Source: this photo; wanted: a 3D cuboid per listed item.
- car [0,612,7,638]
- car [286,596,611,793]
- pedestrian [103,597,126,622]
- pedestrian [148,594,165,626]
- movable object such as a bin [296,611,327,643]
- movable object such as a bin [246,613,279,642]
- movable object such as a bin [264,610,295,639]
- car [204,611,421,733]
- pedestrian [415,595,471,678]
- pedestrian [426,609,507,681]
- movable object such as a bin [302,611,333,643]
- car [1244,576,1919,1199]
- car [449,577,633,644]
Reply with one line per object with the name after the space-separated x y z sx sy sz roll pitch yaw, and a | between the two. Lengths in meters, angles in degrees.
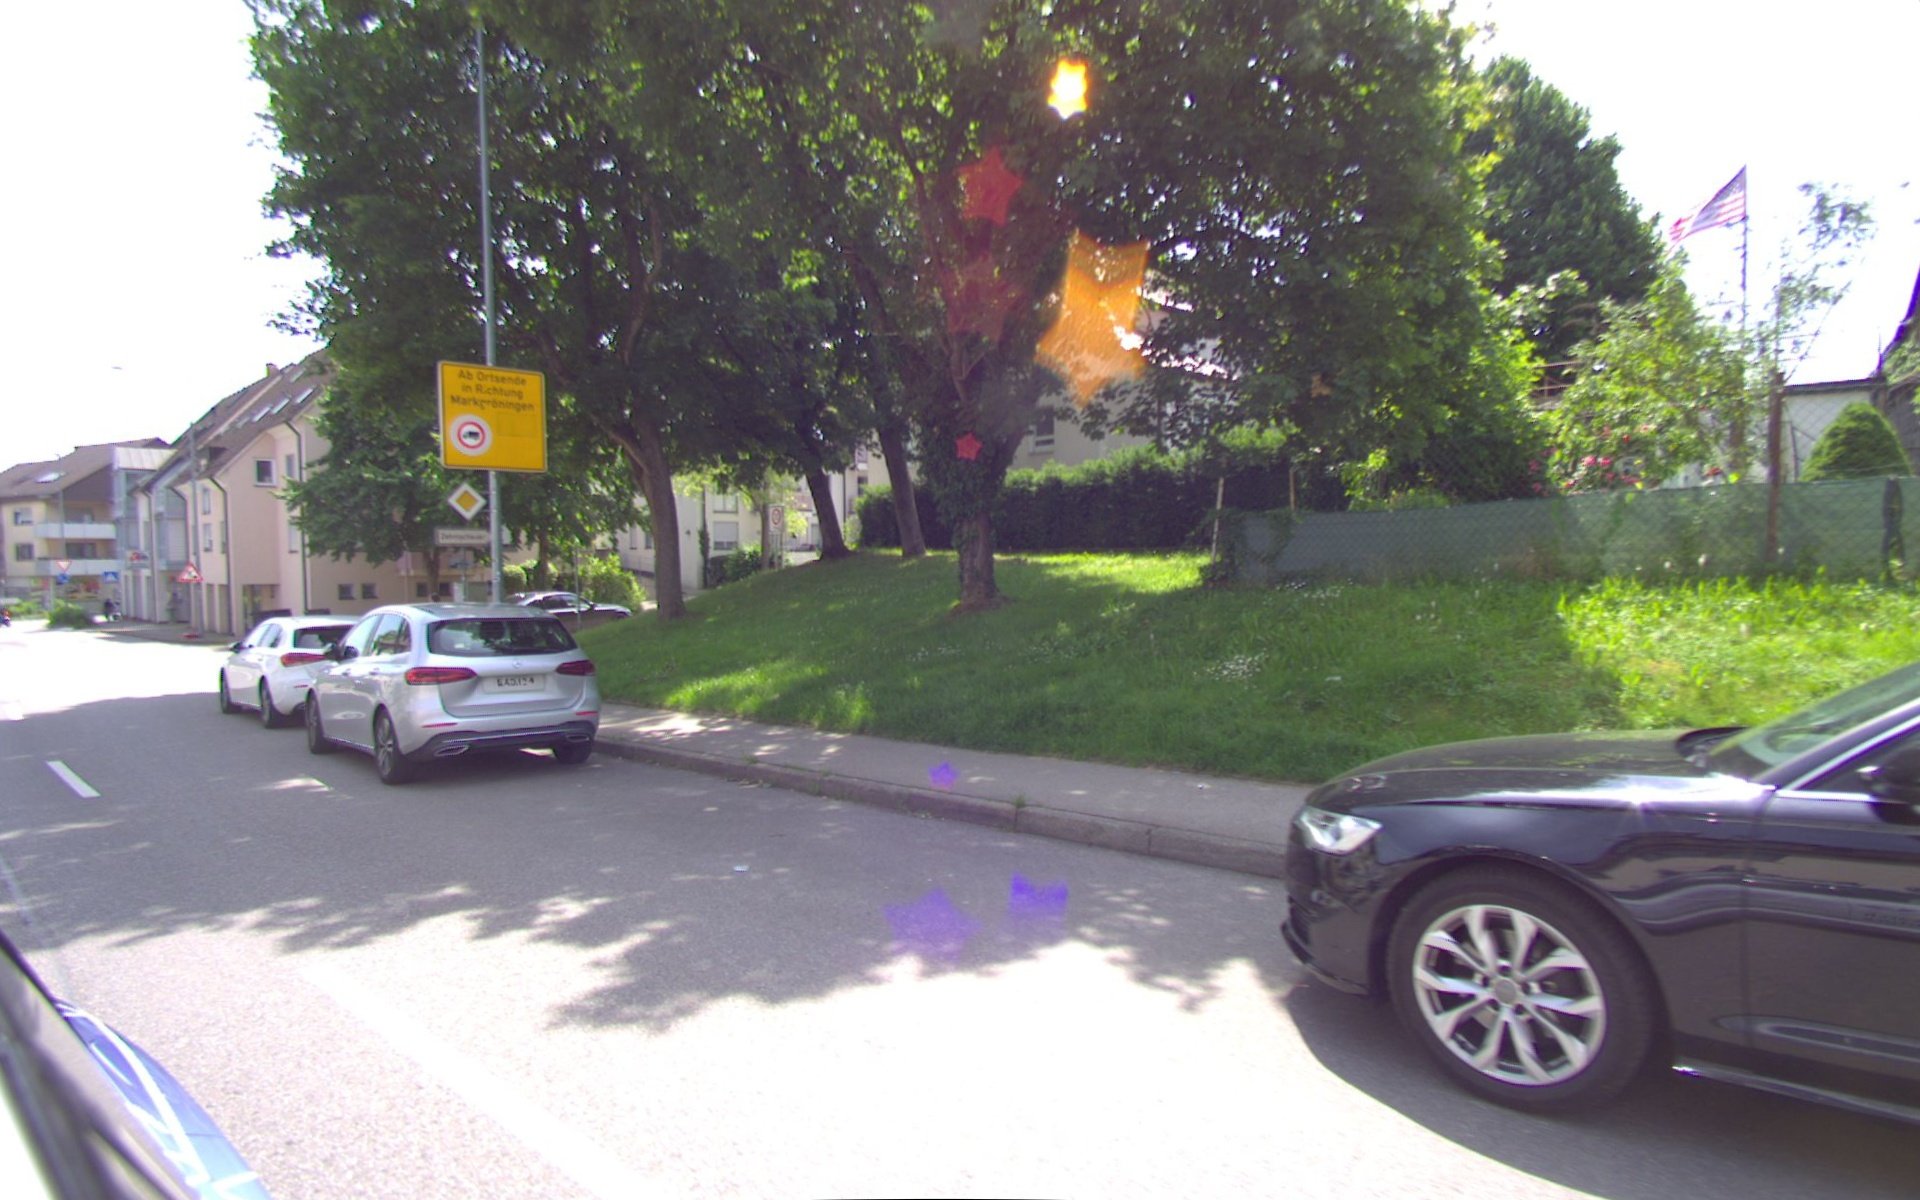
-63.255 1.660 65.504 3.941 1.596 1.735 -1 2 39 | car
-5.233 0.772 10.066 1.751 1.539 4.225 0 -1 -44 | car
-51.834 0.572 62.042 0.955 1.489 0.793 -1 2 36 | pedestrian
-44.954 0.563 56.615 0.568 1.721 0.580 -5 3 -43 | pedestrian
-22.983 0.957 35.872 0.762 1.007 0.610 -7 6 -42 | movable object such as a bin
-25.072 0.978 36.372 0.841 1.008 0.695 -3 2 -42 | movable object such as a bin
-24.854 0.892 36.967 0.791 1.007 0.806 -5 3 -42 | movable object such as a bin
-9.358 0.913 14.467 1.735 1.478 4.365 0 -1 -45 | car
-10.596 0.738 20.741 0.626 1.628 0.726 -1 2 26 | pedestrian
-9.519 0.846 19.528 1.221 1.278 0.647 -4 3 -41 | pedestrian
-22.448 0.952 35.353 0.762 1.007 0.610 -7 6 -41 | movable object such as a bin
3.357 0.630 2.311 4.927 1.434 1.785 -2 -1 43 | car
-11.994 0.244 29.346 1.990 1.490 4.750 -1 4 27 | car
